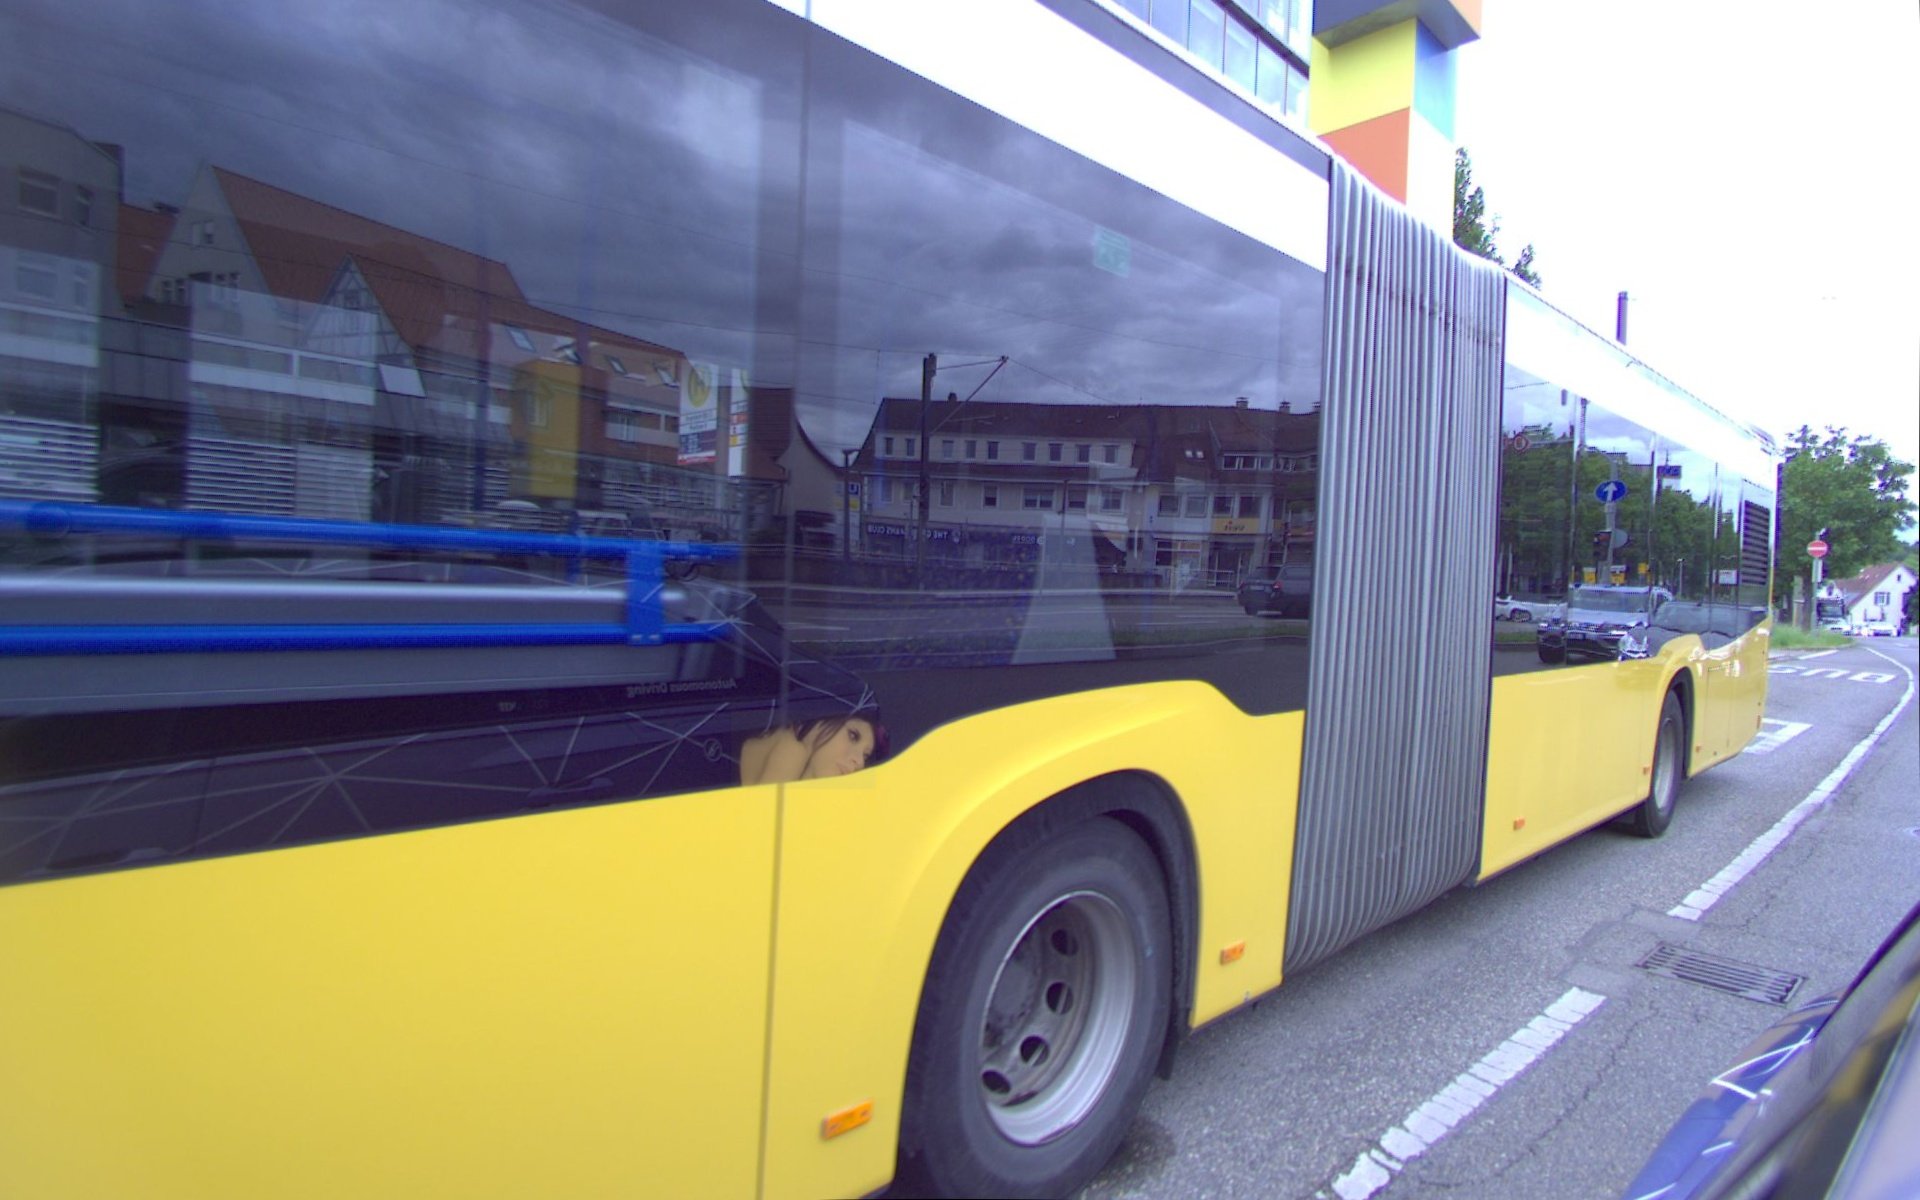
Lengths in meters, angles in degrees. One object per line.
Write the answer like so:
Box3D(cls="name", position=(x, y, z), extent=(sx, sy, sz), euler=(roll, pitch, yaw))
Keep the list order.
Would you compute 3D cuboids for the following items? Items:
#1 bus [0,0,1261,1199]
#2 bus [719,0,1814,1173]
Box3D(cls="bus", position=(-3.428, -0.242, 0.461), extent=(8.976, 3.203, 2.715), euler=(0, 2, -44))
Box3D(cls="bus", position=(3.034, -0.122, 6.582), extent=(8.719, 3.147, 2.716), euler=(0, 2, -43))
